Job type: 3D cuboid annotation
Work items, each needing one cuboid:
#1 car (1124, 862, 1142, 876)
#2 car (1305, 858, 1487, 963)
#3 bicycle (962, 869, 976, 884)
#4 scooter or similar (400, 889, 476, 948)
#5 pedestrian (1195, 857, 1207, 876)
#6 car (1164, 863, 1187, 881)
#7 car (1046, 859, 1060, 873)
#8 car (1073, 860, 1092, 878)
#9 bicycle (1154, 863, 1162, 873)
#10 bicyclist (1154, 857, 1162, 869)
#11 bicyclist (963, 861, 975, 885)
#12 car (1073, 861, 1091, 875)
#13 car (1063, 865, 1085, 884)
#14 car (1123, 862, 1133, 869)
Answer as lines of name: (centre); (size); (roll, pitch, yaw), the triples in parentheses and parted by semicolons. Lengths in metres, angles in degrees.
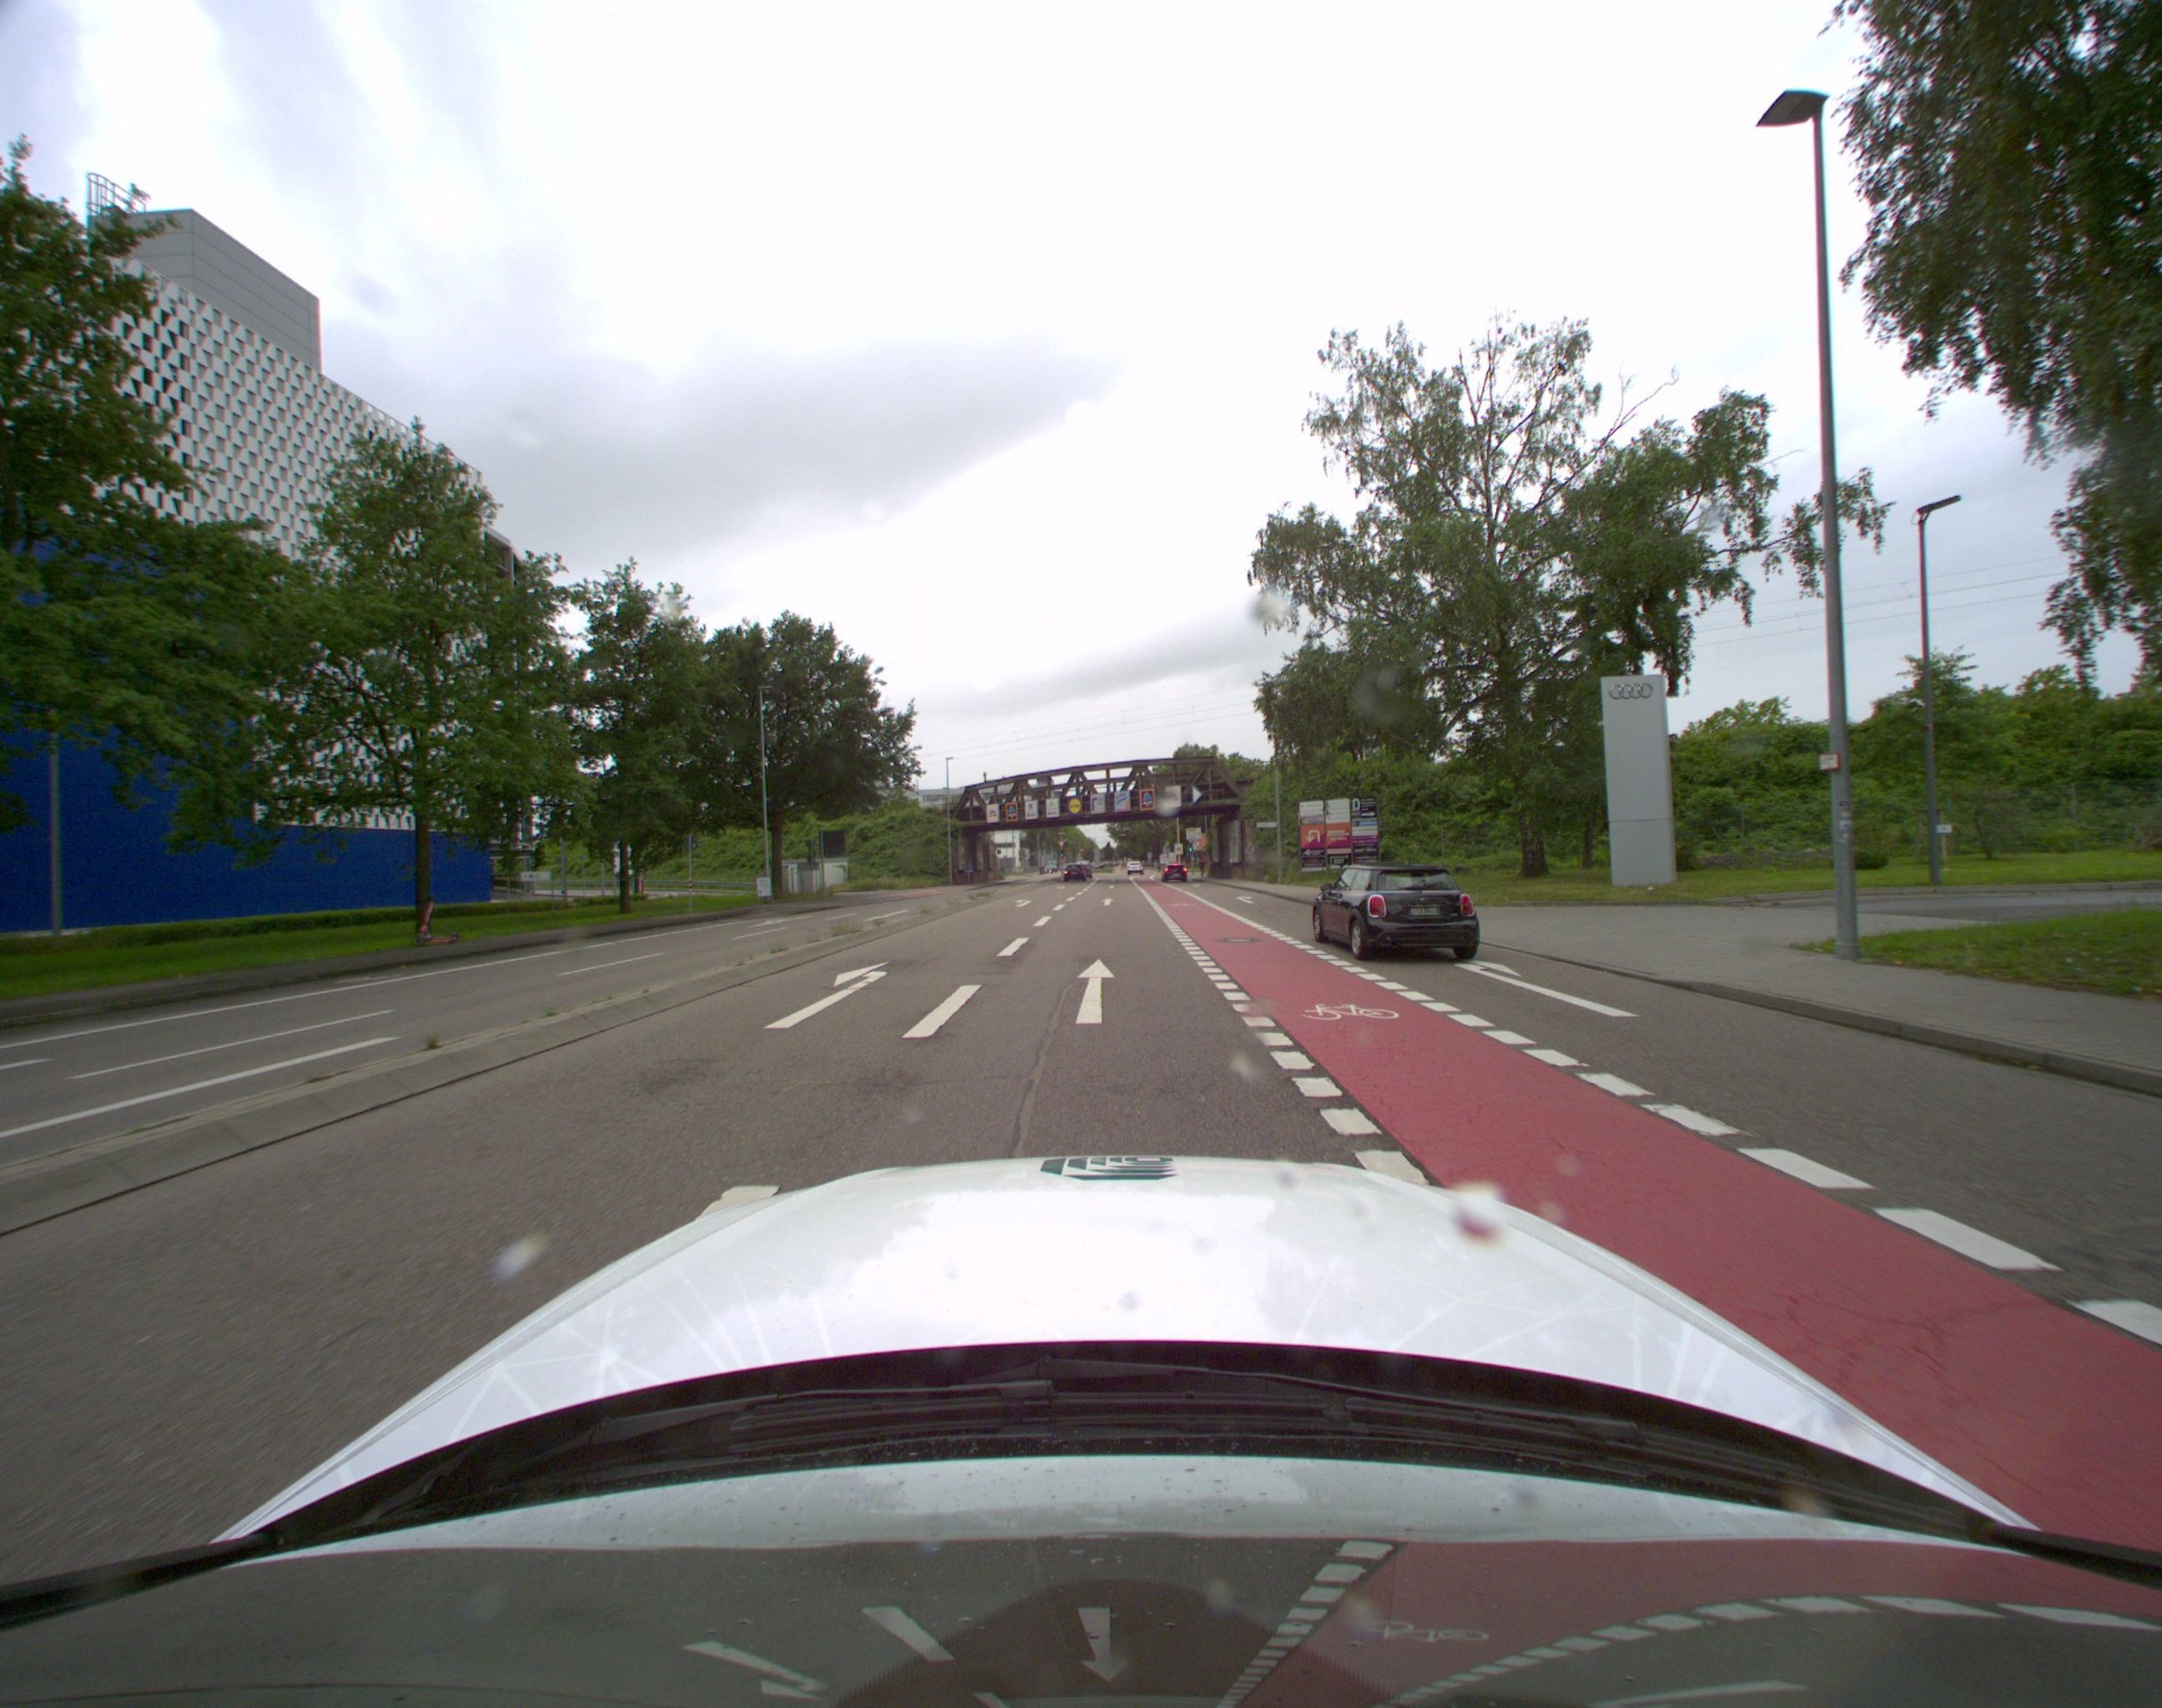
car: (6.227, 1.774, 97.622); (1.818, 1.600, 3.774); (-1, 0, -1)
car: (4.863, 0.788, 13.118); (1.672, 1.431, 3.778); (-1, 0, 4)
bicycle: (-8.945, 1.785, 65.069); (0.710, 1.187, 2.372); (-1, -1, 2)
scooter or similar: (-15.780, 1.567, 20.026); (0.444, 1.321, 1.510); (-2, -1, 12)
pedestrian: (10.577, 1.092, 71.690); (0.743, 1.640, 0.774); (-2, -1, -16)
car: (7.127, 1.360, 61.728); (1.639, 1.281, 3.424); (-1, 0, 5)
car: (-6.023, 2.541, 175.880); (2.317, 2.826, 5.957); (-2, -1, 5)
car: (0.167, 1.441, 79.695); (1.767, 1.652, 3.667); (-1, 0, -1)
bicycle: (10.430, 1.879, 110.003); (0.813, 1.212, 2.684); (-3, -1, 2)
bicyclist: (10.398, 1.225, 110.013); (0.813, 1.630, 1.235); (-3, -1, 2)
bicyclist: (-8.947, 1.525, 65.070); (0.699, 1.874, 1.020); (0, -1, 2)
car: (0.077, 1.592, 93.114); (1.956, 1.528, 5.007); (-1, 0, -1)
car: (-0.592, 1.710, 69.399); (1.763, 1.528, 3.667); (-1, 0, -1)
car: (10.630, 2.560, 184.347); (1.790, 1.513, 3.704); (-1, 0, -1)
